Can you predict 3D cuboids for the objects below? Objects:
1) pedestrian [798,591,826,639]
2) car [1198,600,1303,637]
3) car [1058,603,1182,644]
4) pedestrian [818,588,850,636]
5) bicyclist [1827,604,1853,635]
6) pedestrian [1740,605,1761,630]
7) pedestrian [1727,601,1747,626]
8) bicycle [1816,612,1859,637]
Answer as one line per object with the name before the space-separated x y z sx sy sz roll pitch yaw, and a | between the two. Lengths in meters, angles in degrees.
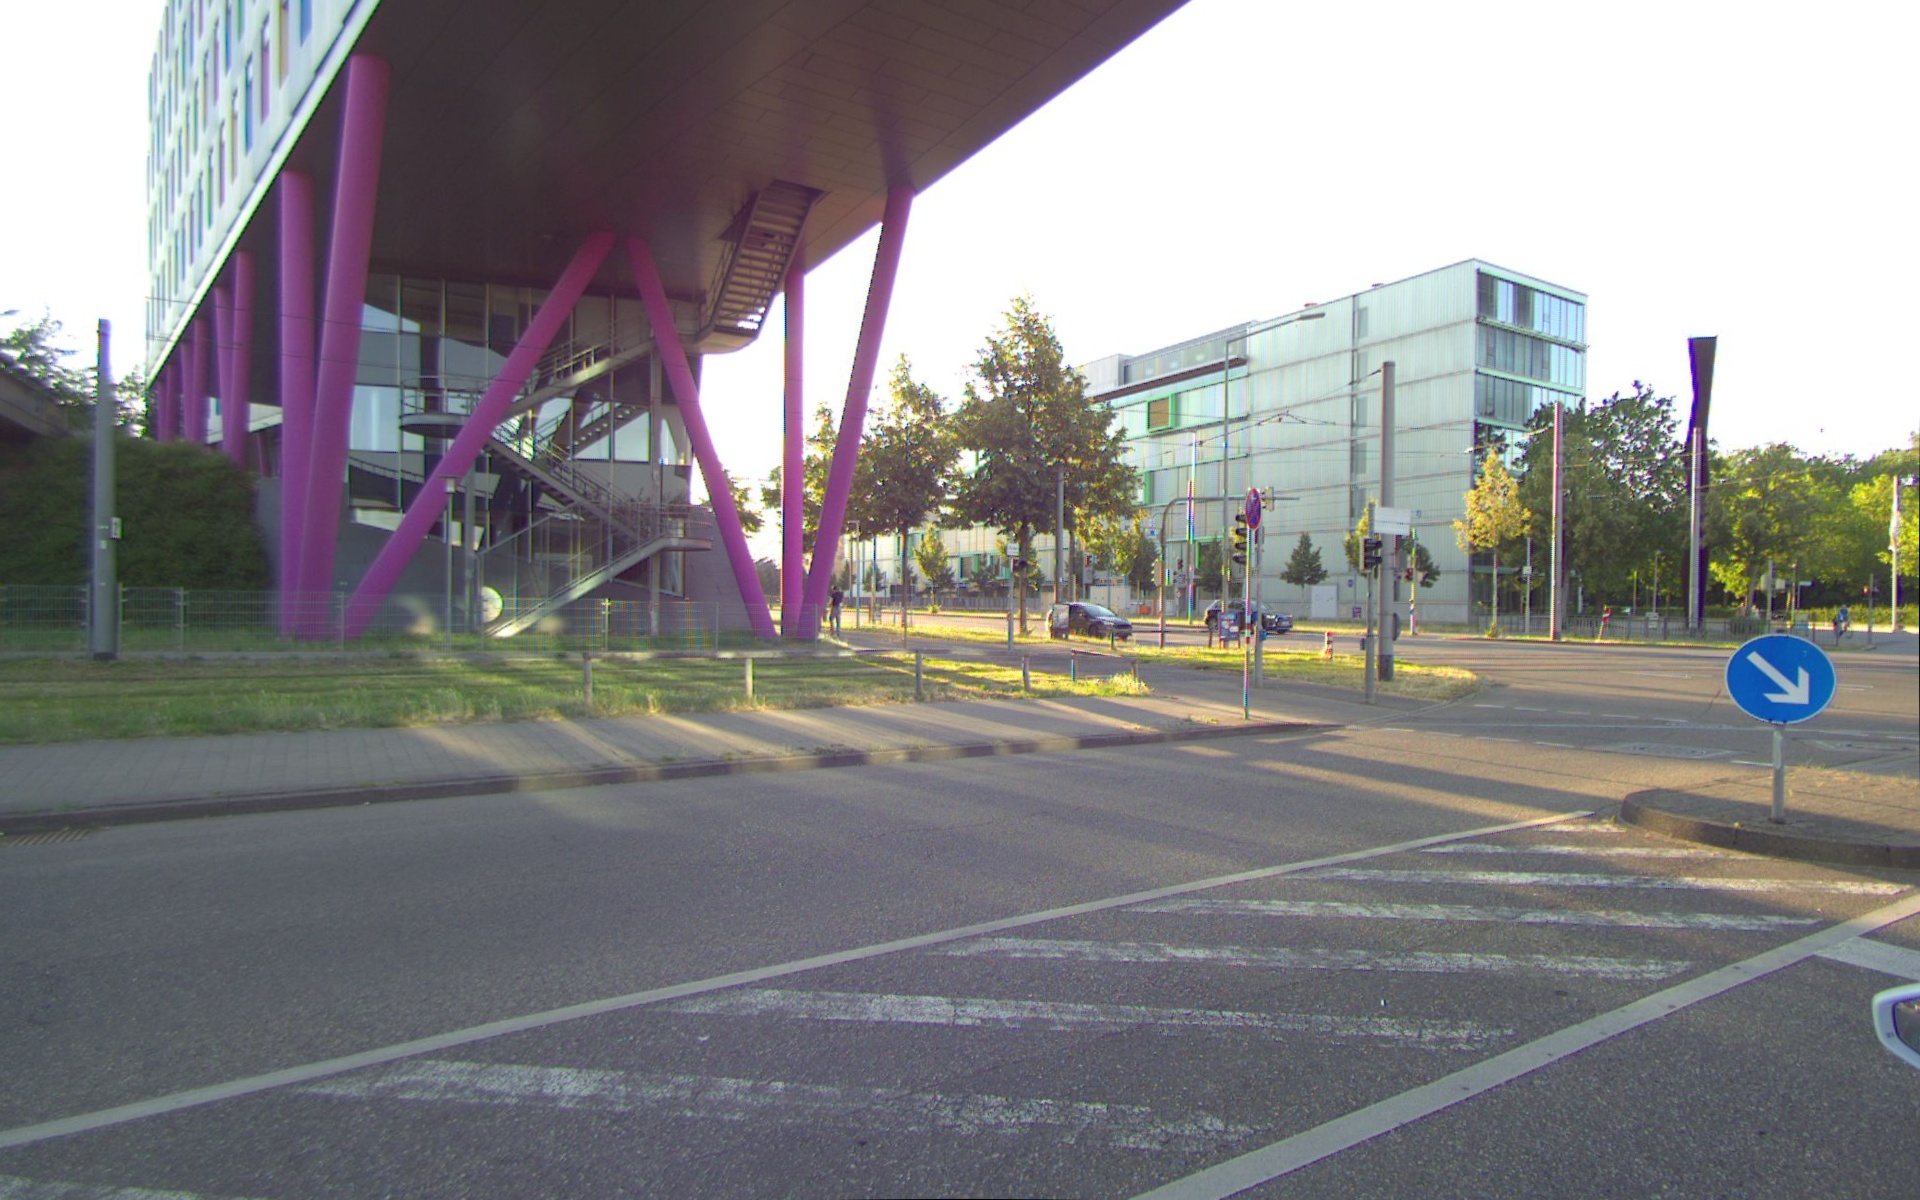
pedestrian | -5.404 0.546 36.599 0.754 1.727 0.881 1 -2 -28
car | 13.294 0.801 46.200 1.968 1.577 4.448 1 0 -34
car | 6.563 0.948 41.648 1.973 1.531 4.963 1 0 -41
pedestrian | -4.630 0.450 36.897 0.921 1.747 0.877 1 -2 -28
bicyclist | 49.466 1.070 56.468 0.738 1.732 0.920 1 0 13
pedestrian | 58.494 1.294 74.308 0.814 1.767 0.863 1 0 2
pedestrian | 57.528 0.996 74.398 0.813 1.767 0.863 1 0 3
bicycle | 49.477 1.351 56.657 0.717 1.359 2.691 1 0 16
